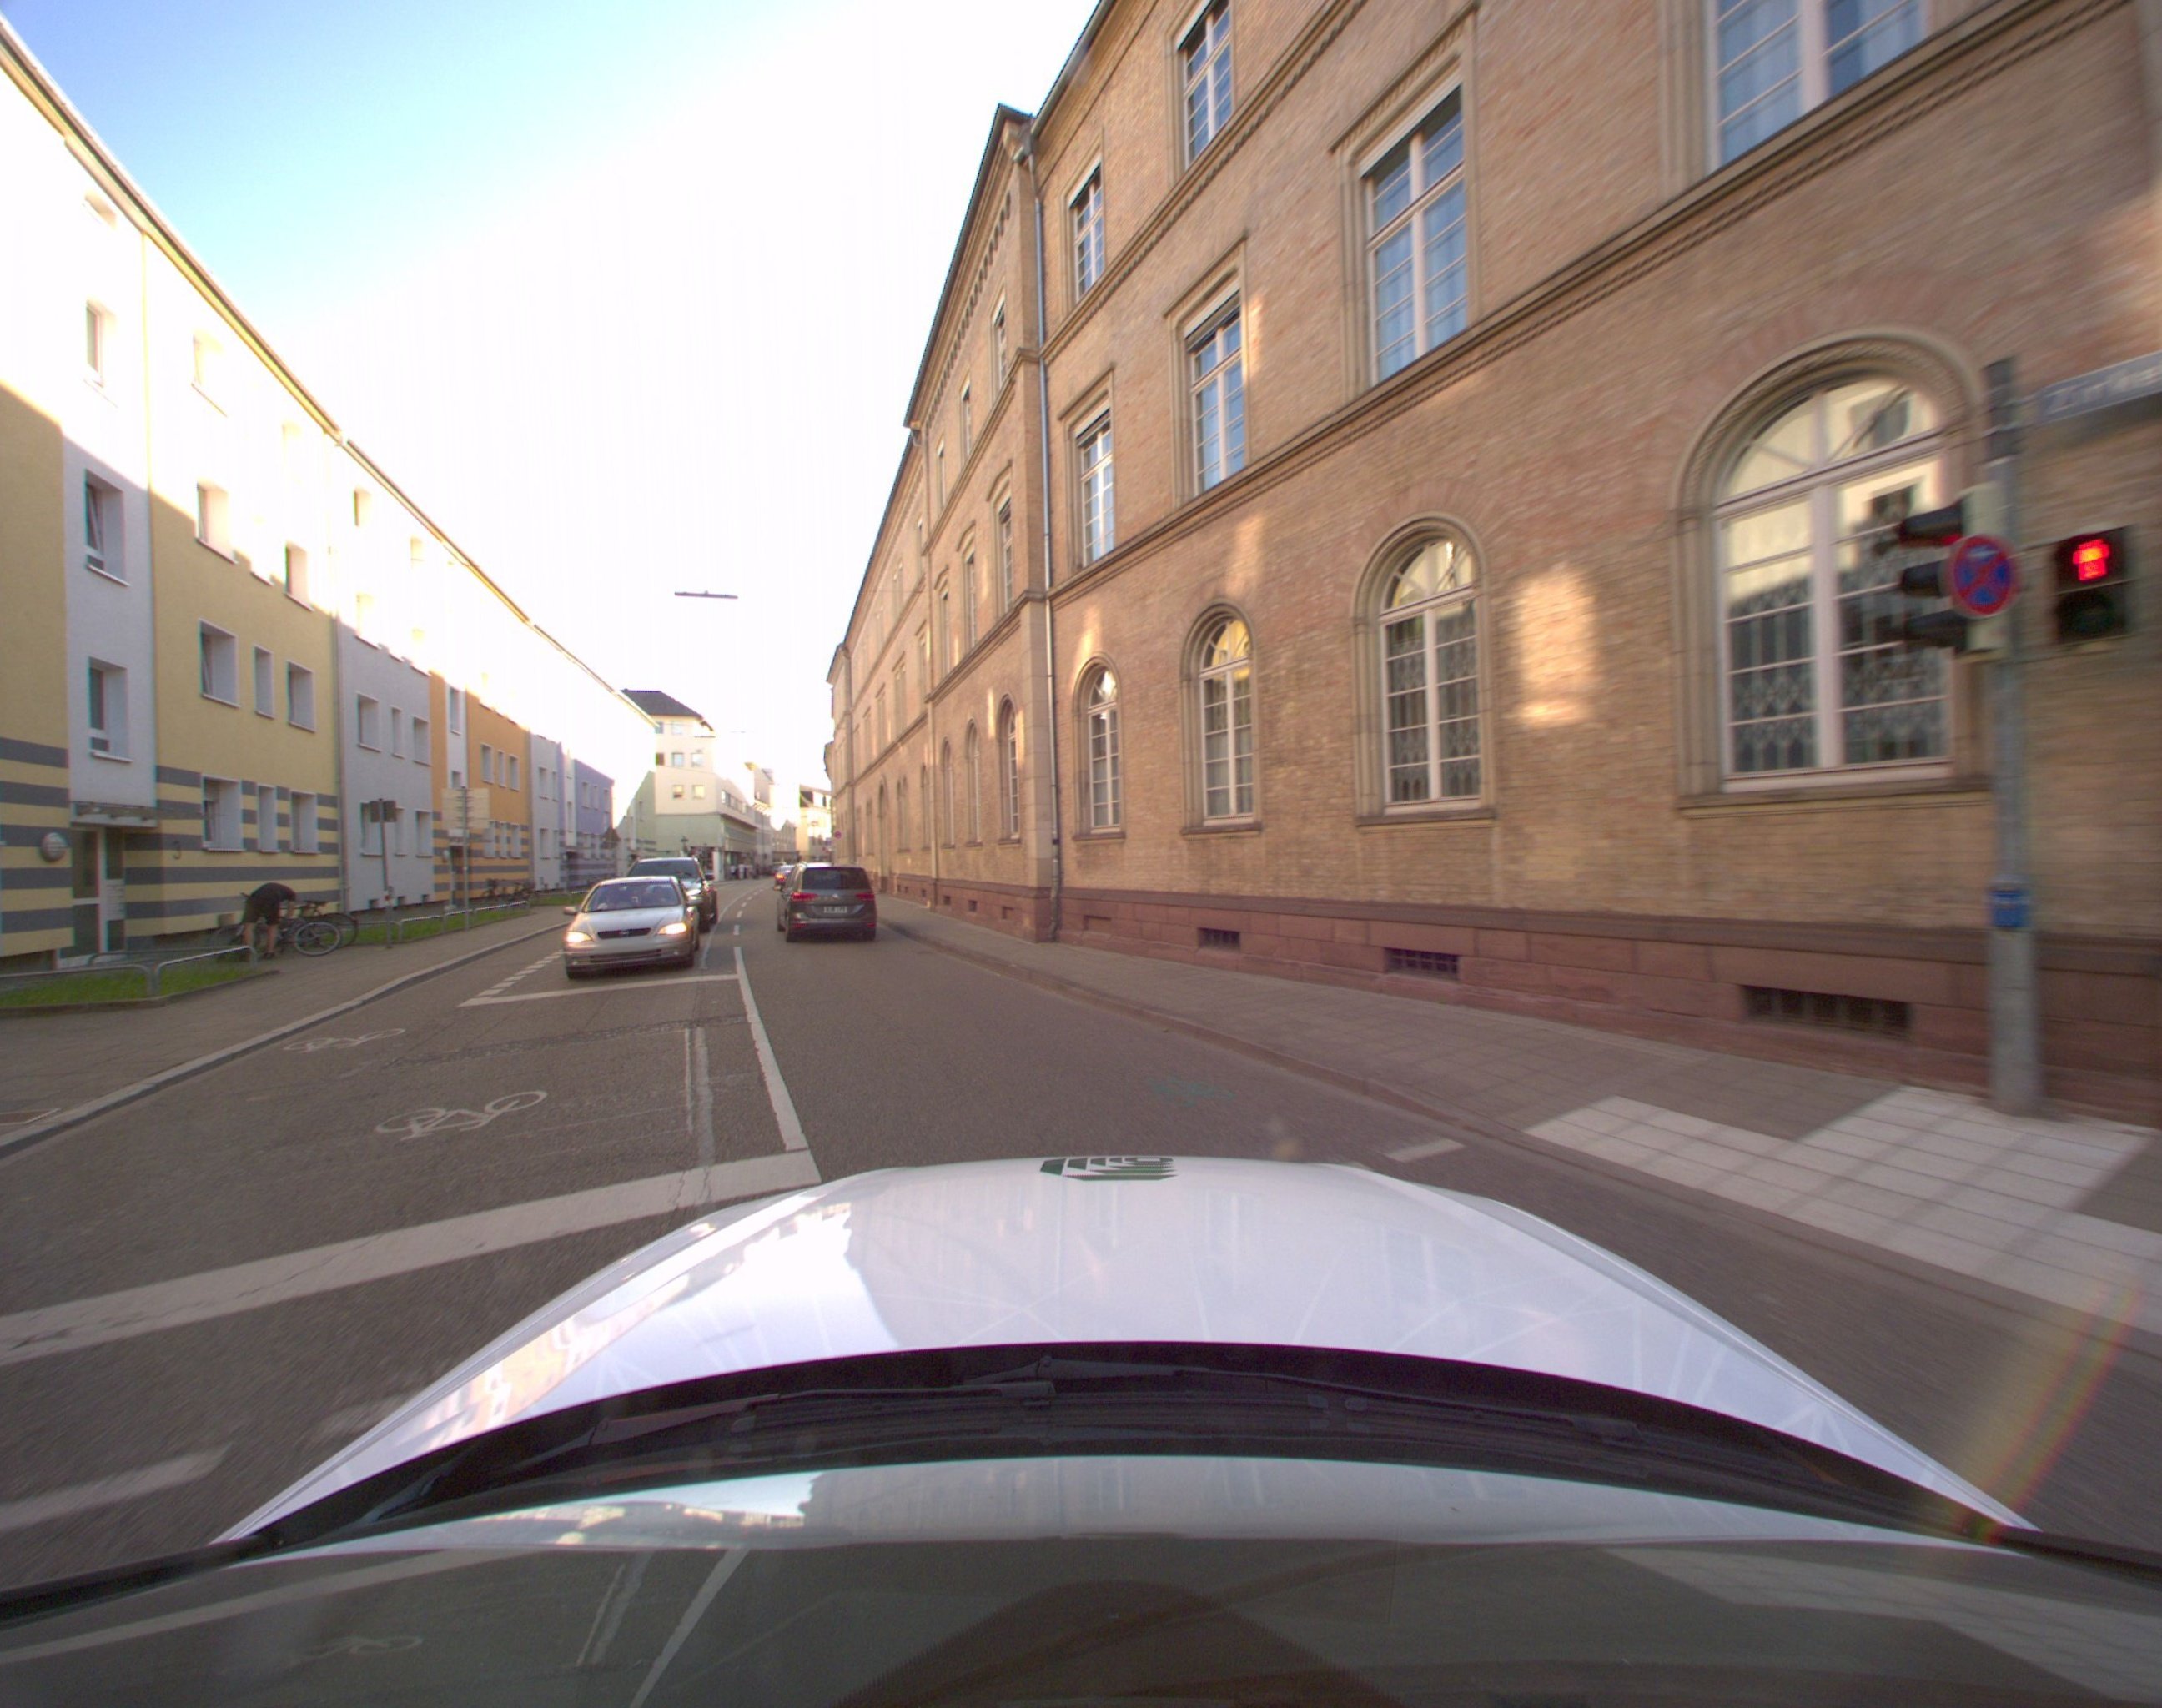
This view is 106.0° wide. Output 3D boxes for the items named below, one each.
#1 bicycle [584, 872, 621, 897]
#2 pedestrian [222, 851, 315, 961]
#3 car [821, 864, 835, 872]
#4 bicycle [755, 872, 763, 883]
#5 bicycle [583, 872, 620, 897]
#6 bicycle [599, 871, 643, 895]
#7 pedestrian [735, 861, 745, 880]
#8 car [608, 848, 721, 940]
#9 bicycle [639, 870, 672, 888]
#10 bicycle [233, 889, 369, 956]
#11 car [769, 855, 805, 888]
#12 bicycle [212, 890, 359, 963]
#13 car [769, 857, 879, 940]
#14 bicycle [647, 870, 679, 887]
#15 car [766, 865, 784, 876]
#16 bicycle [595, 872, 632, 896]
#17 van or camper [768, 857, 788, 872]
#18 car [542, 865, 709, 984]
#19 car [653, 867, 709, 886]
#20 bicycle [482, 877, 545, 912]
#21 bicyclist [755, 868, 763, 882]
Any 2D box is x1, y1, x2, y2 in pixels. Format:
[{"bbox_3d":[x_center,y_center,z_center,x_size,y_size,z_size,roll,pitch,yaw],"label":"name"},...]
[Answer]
[{"bbox_3d":[-25.079,1.583,42.721,1.591,1.241,0.446,-1,0,-22],"label":"bicycle"},{"bbox_3d":[-14.202,0.885,14.256,0.717,1.854,0.869,-2,0,0],"label":"pedestrian"},{"bbox_3d":[-50.315,2.819,162.224,1.731,1.468,3.993,-1,0,-5],"label":"car"},{"bbox_3d":[-35.236,2.566,89.109,0.834,1.054,2.530,-1,0,-22],"label":"bicycle"},{"bbox_3d":[-24.933,1.575,42.333,1.586,1.241,0.381,-1,0,-22],"label":"bicycle"},{"bbox_3d":[-25.261,1.590,44.742,2.016,1.231,0.618,-1,0,-22],"label":"bicycle"},{"bbox_3d":[-33.563,1.662,80.129,0.553,1.829,0.732,-1,-1,5],"label":"pedestrian"},{"bbox_3d":[-9.944,0.872,19.836,1.908,1.835,5.057,-3,1,-22],"label":"car"},{"bbox_3d":[-29.376,1.720,56.195,1.943,1.179,0.607,2,-2,-35],"label":"bicycle"},{"bbox_3d":[-15.040,1.291,15.765,1.762,1.145,0.645,-1,0,-29],"label":"bicycle"},{"bbox_3d":[-18.065,1.036,50.048,2.001,1.882,3.972,-1,0,-20],"label":"car"},{"bbox_3d":[-14.222,1.272,14.624,1.762,1.145,0.645,-1,0,-29],"label":"bicycle"},{"bbox_3d":[-5.704,0.895,17.792,1.770,1.607,3.967,2,-1,-25],"label":"car"},{"bbox_3d":[-29.589,1.732,57.669,1.940,1.179,0.608,2,-2,-28],"label":"bicycle"},{"bbox_3d":[-41.473,2.238,110.396,1.868,1.468,3.815,-1,0,-14],"label":"car"},{"bbox_3d":[-25.227,1.612,43.993,1.645,1.241,0.463,-1,0,-22],"label":"bicycle"},{"bbox_3d":[-42.594,1.457,114.674,1.996,2.013,4.463,-1,0,-13],"label":"van or camper"},{"bbox_3d":[-7.190,0.992,13.270,1.748,1.486,4.106,-3,1,-22],"label":"car"},{"bbox_3d":[-35.517,1.954,72.413,4.109,1.443,1.936,-2,0,-18],"label":"car"},{"bbox_3d":[-20.108,1.414,28.890,1.762,1.145,0.645,-1,0,-29],"label":"bicycle"},{"bbox_3d":[-35.262,2.313,89.204,0.834,1.562,0.754,-1,0,-22],"label":"bicyclist"}]
